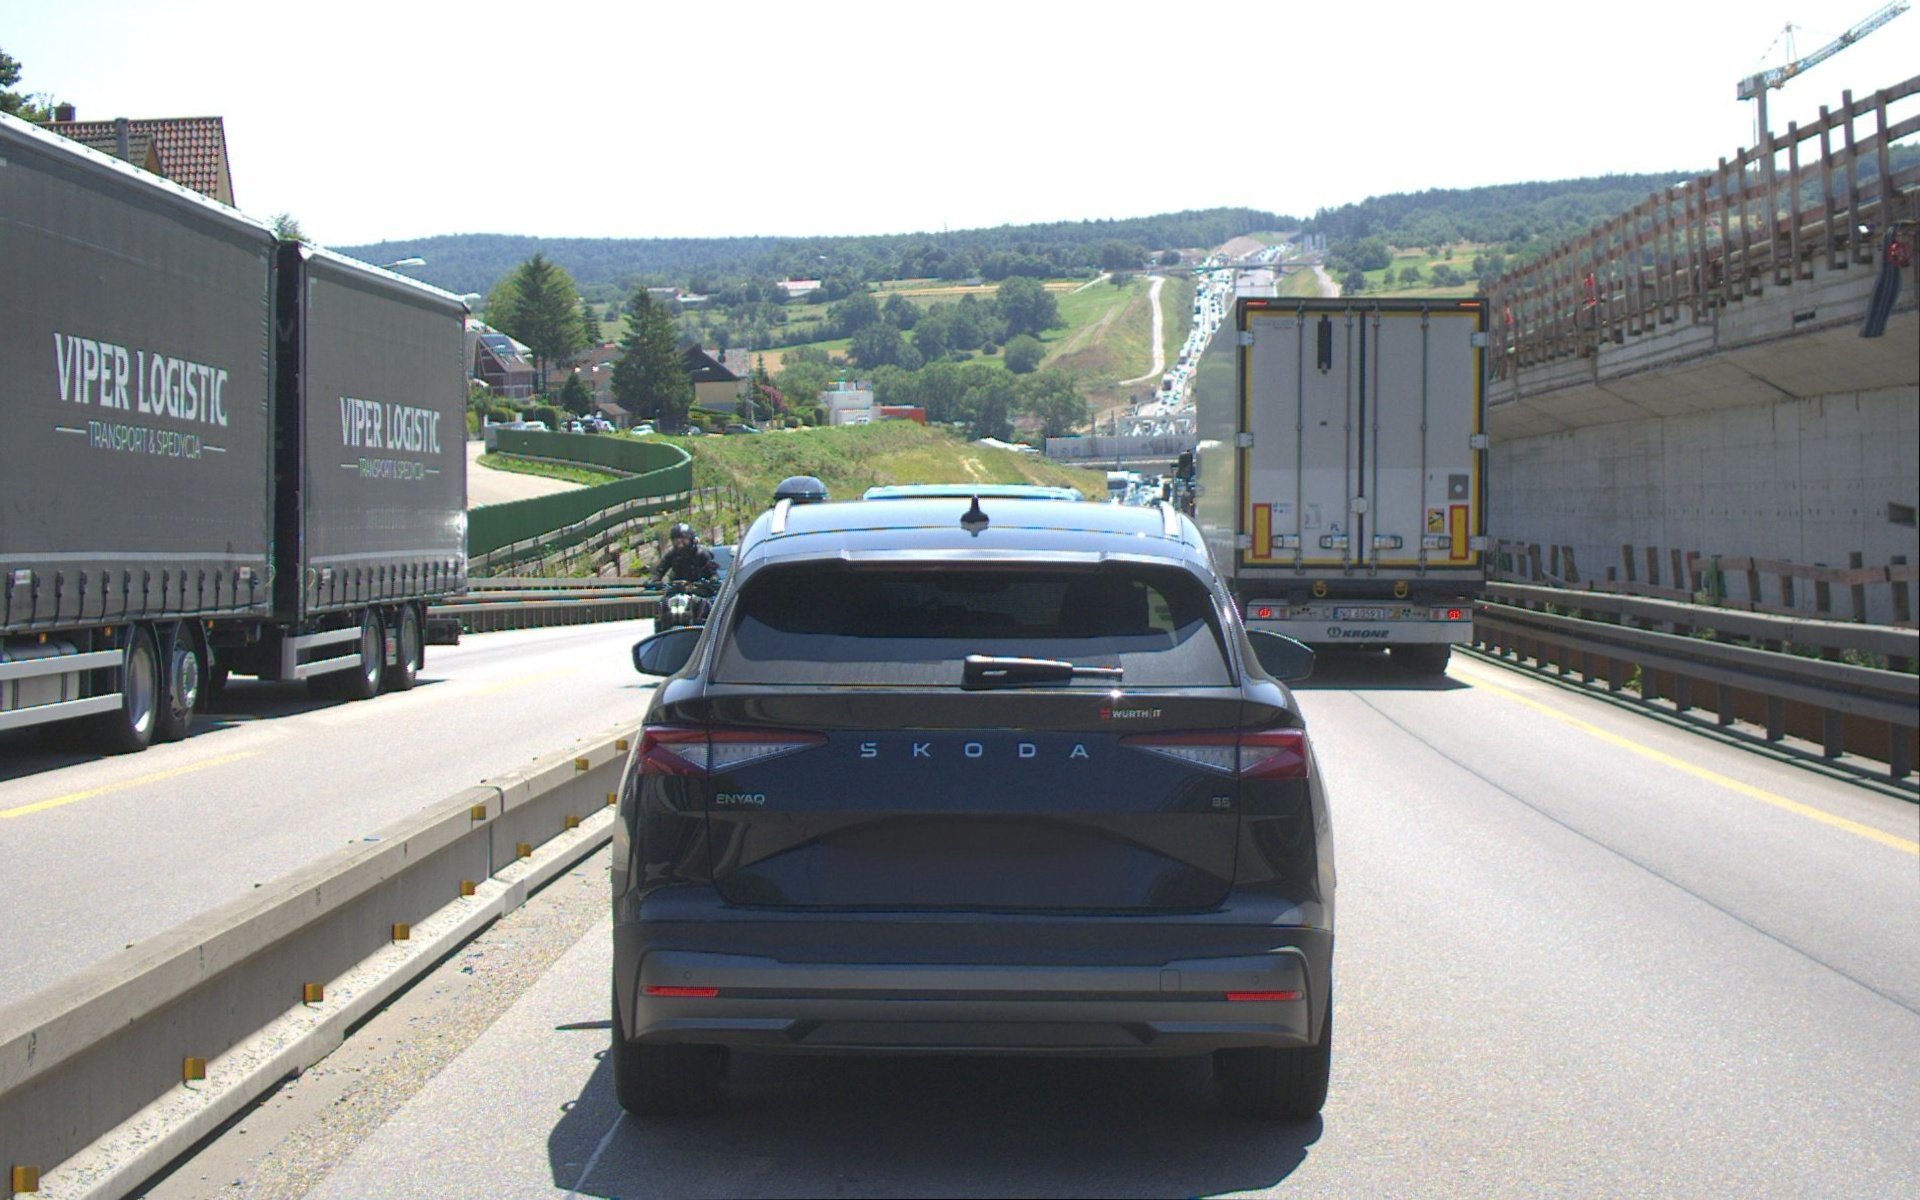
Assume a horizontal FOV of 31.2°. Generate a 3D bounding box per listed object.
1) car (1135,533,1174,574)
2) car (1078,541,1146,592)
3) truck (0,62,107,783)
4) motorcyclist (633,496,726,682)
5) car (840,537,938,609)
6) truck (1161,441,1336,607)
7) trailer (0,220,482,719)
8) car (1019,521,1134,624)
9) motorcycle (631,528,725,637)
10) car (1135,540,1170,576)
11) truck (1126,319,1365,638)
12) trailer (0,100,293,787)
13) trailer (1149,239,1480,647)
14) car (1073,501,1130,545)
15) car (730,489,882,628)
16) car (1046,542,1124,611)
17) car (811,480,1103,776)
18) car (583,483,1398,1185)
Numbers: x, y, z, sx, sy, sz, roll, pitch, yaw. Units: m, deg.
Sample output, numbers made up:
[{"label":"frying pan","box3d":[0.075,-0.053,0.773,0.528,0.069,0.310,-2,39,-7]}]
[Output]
[{"label":"car","box3d":[8.638,-2.052,152.560,1.701,1.722,3.836,1,0,4]},{"label":"car","box3d":[4.841,-1.050,109.965,1.993,1.579,3.836,1,0,0]},{"label":"truck","box3d":[-7.070,-1.055,20.285,2.752,4.269,4.957,1,1,1]},{"label":"motorcyclist","box3d":[-2.848,-0.122,34.984,0.853,1.848,0.984,1,1,0]},{"label":"car","box3d":[-1.504,-0.572,74.304,1.993,1.499,4.649,1,0,0]},{"label":"truck","box3d":[5.935,-1.479,72.612,3.195,3.180,12.807,0,0,3]},{"label":"trailer","box3d":[-6.667,-1.204,32.490,2.757,4.056,8.634,1,2,2]},{"label":"car","box3d":[1.917,-0.494,57.780,1.707,1.616,4.001,1,2,-1]},{"label":"motorcycle","box3d":[-2.863,-0.193,35.062,0.786,1.076,1.912,1,1,0]},{"label":"car","box3d":[9.630,-2.076,171.525,1.701,1.722,3.836,1,0,4]},{"label":"truck","box3d":[3.806,-1.544,47.568,2.513,4.011,8.238,1,0,0]},{"label":"trailer","box3d":[-6.955,-1.055,24.171,2.757,4.056,8.008,1,2,1]},{"label":"trailer","box3d":[3.911,-1.603,40.633,2.531,4.113,11.548,1,0,-1]},{"label":"car","box3d":[5.312,-2.898,129.601,1.993,1.579,3.836,1,0,0]},{"label":"car","box3d":[-2.251,-0.593,51.385,2.022,1.953,4.899,1,0,0]},{"label":"car","box3d":[3.108,-0.602,85.988,1.707,1.616,4.001,1,2,-1]},{"label":"car","box3d":[-0.106,0.124,23.995,1.706,1.875,4.001,1,2,-5]},{"label":"car","box3d":[-0.076,0.532,9.765,1.842,1.581,3.908,1,0,-5]}]
